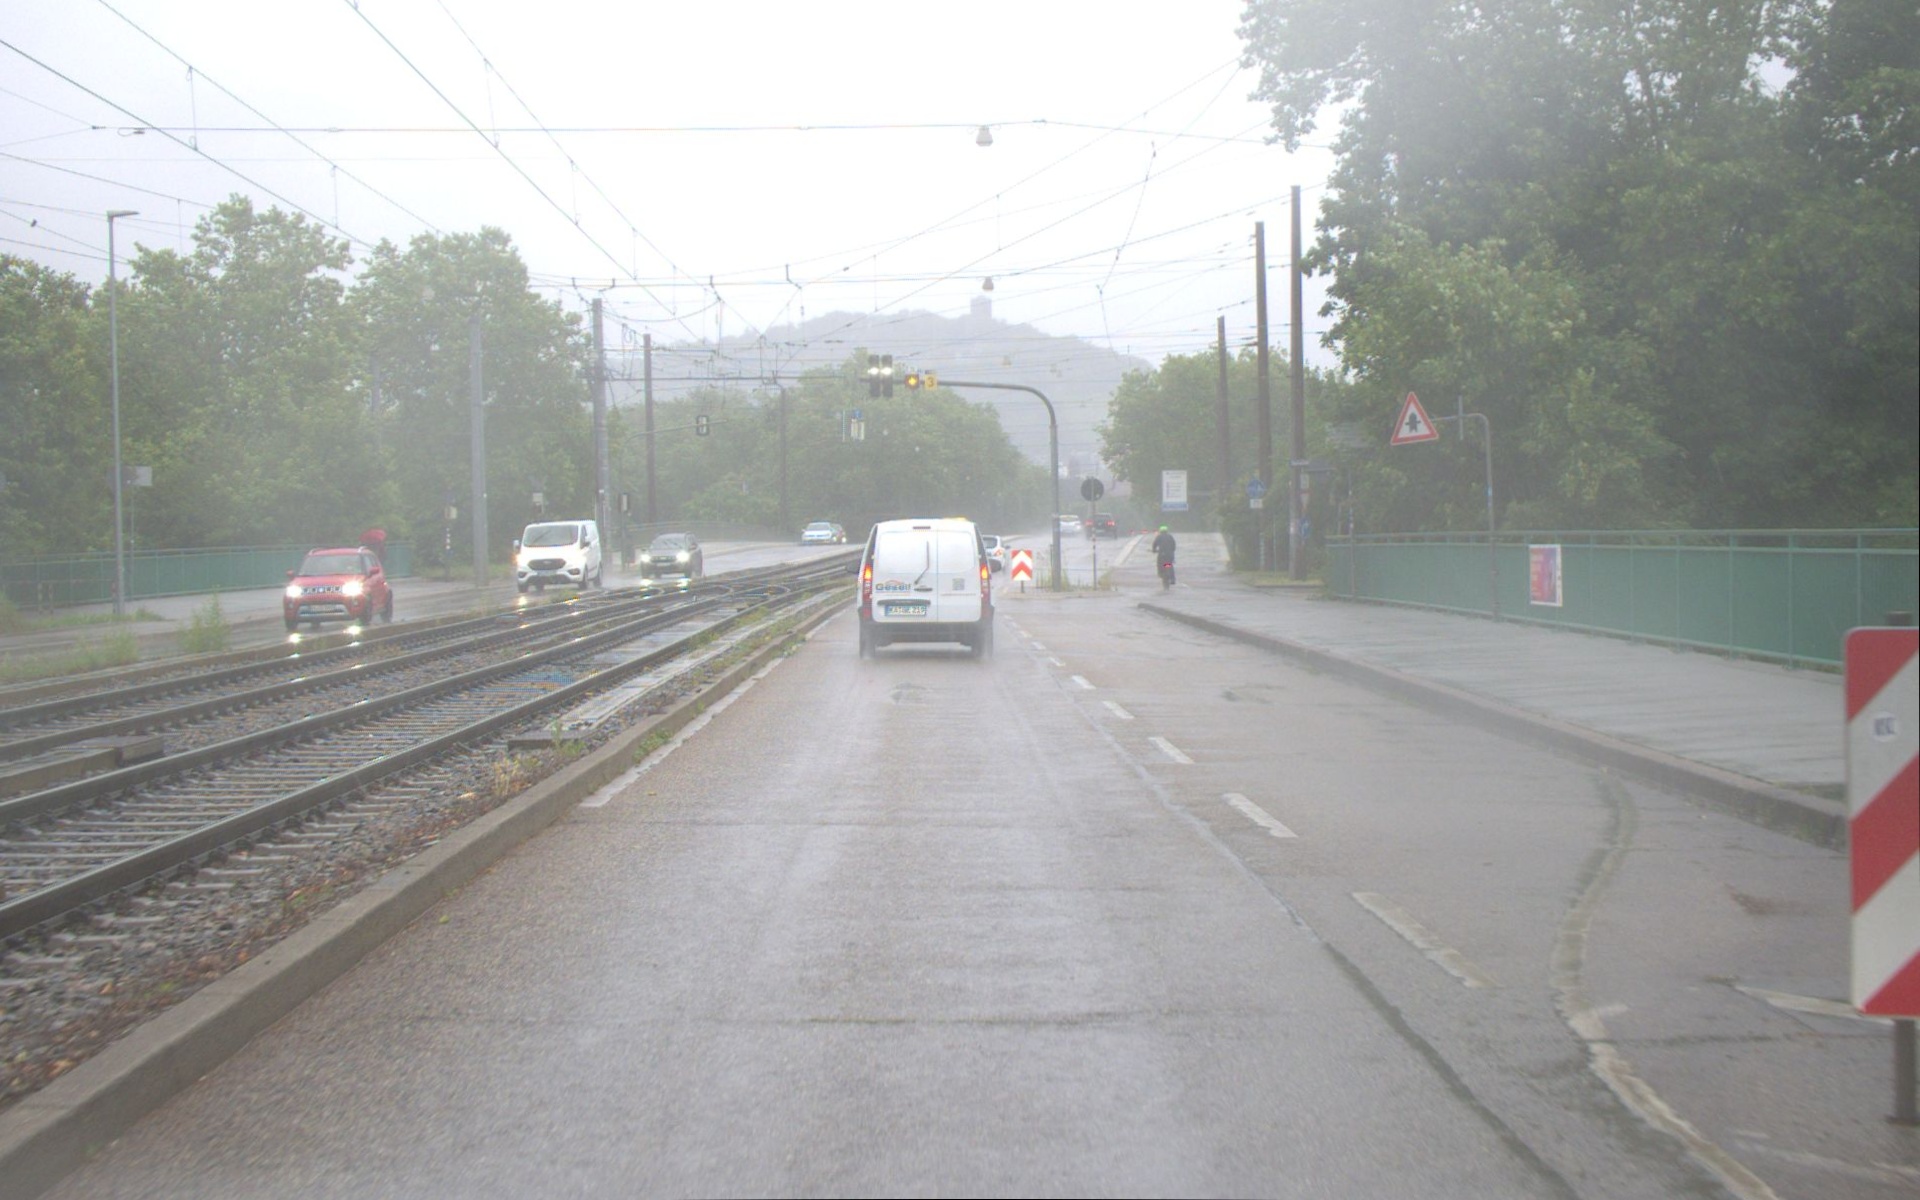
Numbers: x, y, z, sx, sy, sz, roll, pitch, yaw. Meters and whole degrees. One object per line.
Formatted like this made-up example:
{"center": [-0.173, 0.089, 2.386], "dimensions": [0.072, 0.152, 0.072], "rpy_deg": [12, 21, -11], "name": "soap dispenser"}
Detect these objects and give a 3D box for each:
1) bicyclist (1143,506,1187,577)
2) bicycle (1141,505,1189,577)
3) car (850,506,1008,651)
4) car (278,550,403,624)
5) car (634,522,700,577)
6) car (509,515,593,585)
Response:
{"center": [5.808, -1.656, 97.564], "dimensions": [1.100, 2.007, 1.674], "rpy_deg": [0, 0, -1], "name": "bicyclist"}
{"center": [5.802, -1.647, 97.542], "dimensions": [1.105, 2.007, 3.051], "rpy_deg": [0, 0, -1], "name": "bicycle"}
{"center": [-0.458, -0.311, 45.751], "dimensions": [1.993, 1.842, 4.000], "rpy_deg": [0, 1, -2], "name": "car"}
{"center": [-12.420, -0.281, 69.113], "dimensions": [1.819, 1.393, 4.000], "rpy_deg": [-1, 1, -1], "name": "car"}
{"center": [-10.561, -1.816, 124.146], "dimensions": [1.993, 1.941, 4.000], "rpy_deg": [0, 0, 1], "name": "car"}
{"center": [-11.914, -1.441, 99.908], "dimensions": [1.993, 2.007, 4.001], "rpy_deg": [0, 0, -13], "name": "car"}
